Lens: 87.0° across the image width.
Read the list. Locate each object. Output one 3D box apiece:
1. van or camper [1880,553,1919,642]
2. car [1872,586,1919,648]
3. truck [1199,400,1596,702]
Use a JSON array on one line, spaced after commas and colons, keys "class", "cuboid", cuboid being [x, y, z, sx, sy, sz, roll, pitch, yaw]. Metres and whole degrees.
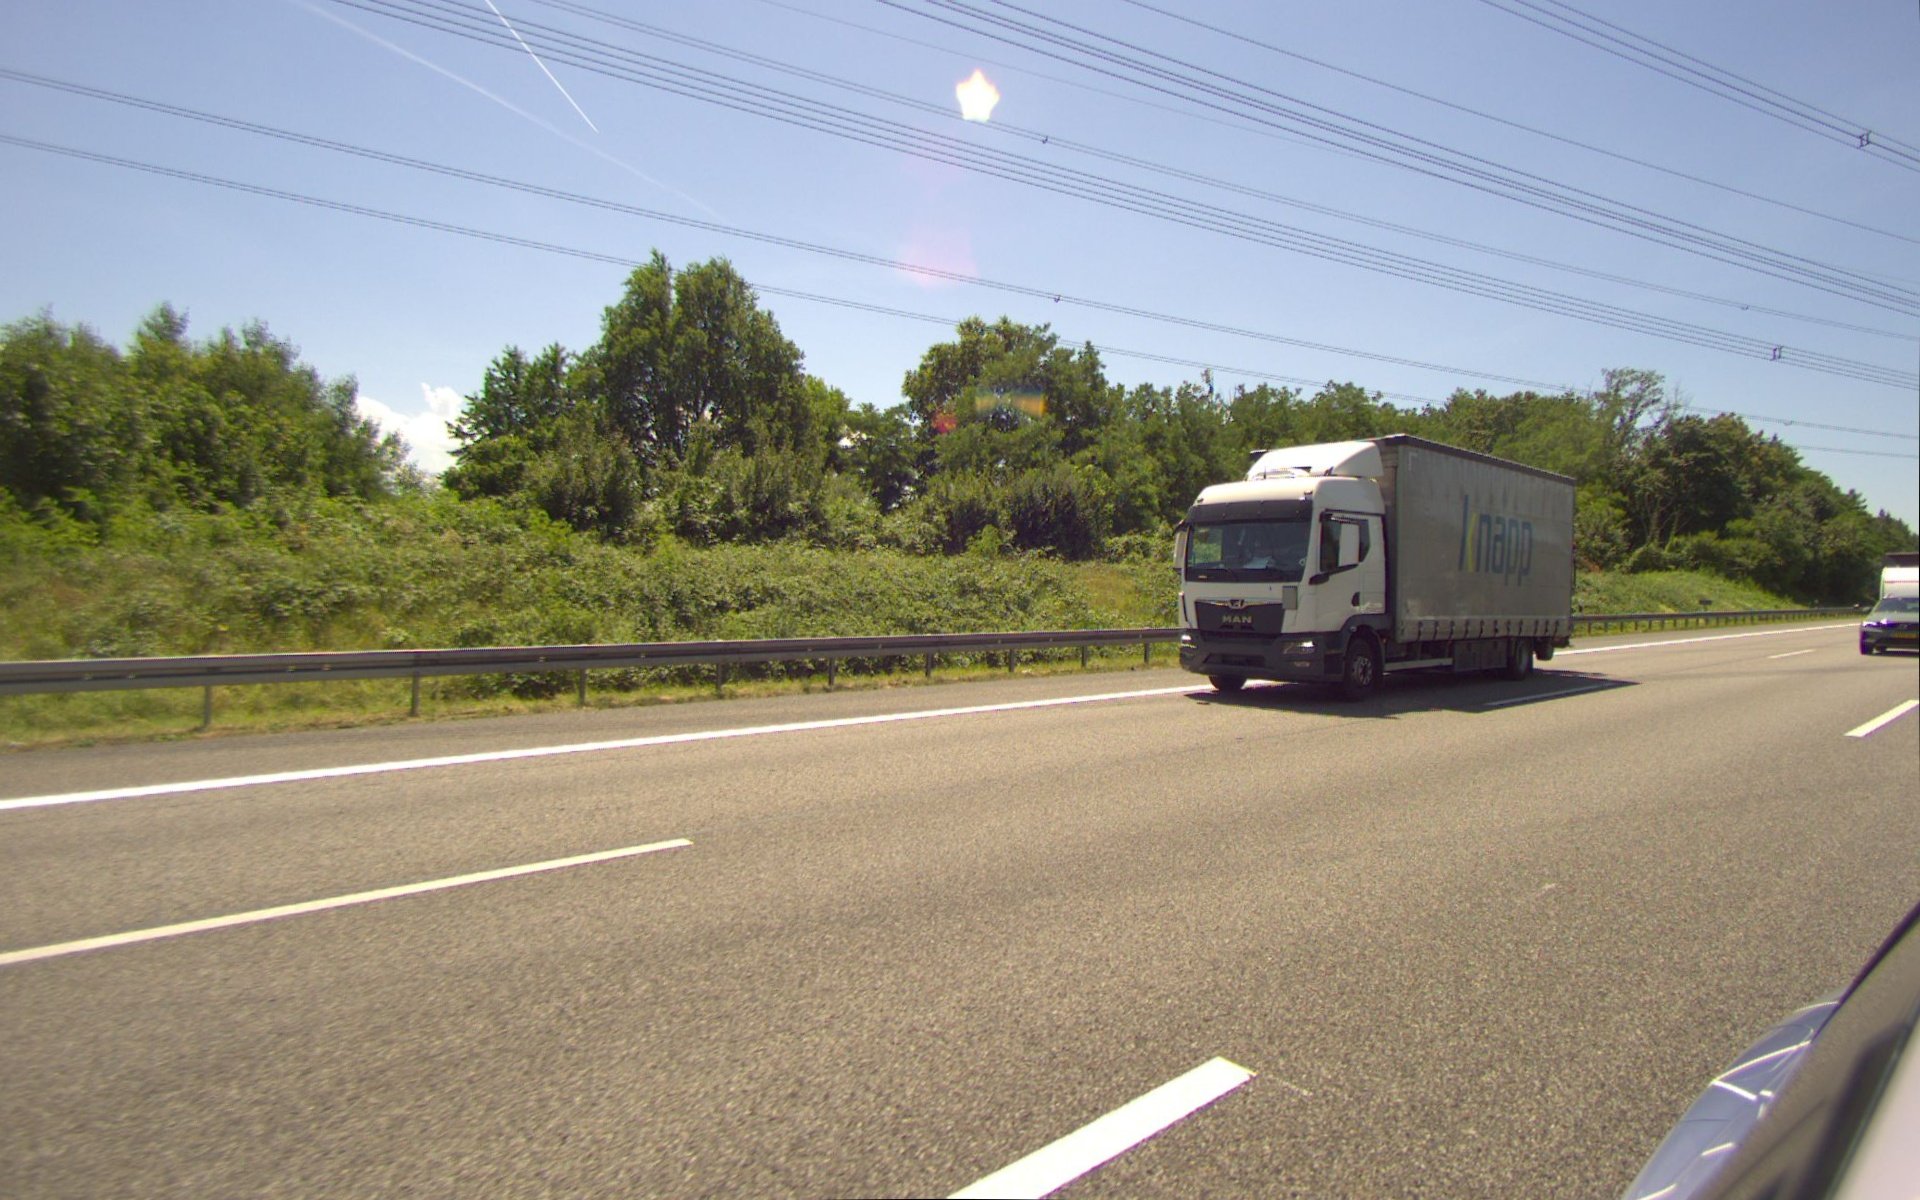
[{"class": "van or camper", "cuboid": [29.865, -0.075, 30.512, 6.319, 2.529, 2.410, 0, 1, -41]}, {"class": "car", "cuboid": [25.952, 0.429, 27.112, 4.033, 1.549, 1.786, 0, 1, -41]}, {"class": "truck", "cuboid": [7.741, -0.643, 16.771, 9.867, 3.820, 1.985, 0, 0, -41]}]
